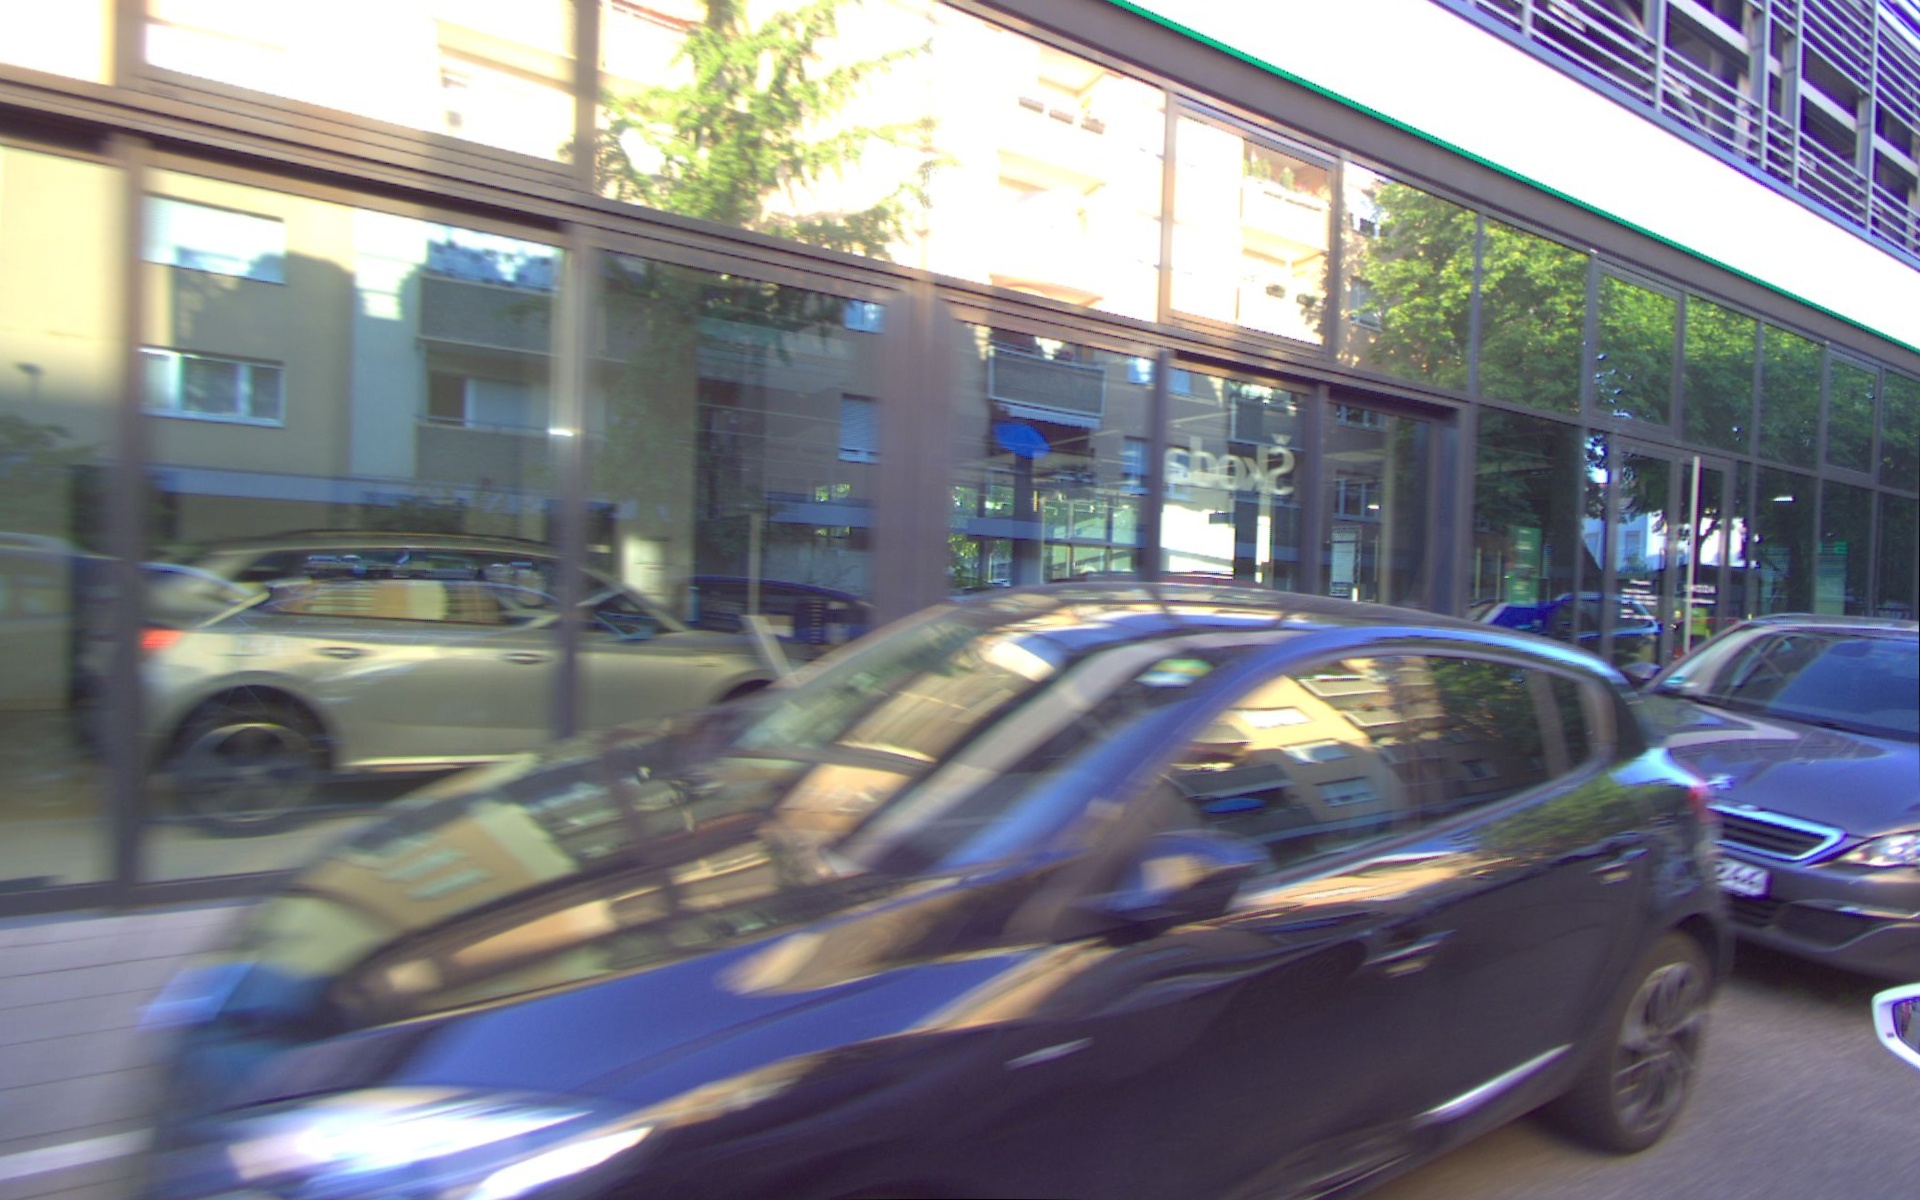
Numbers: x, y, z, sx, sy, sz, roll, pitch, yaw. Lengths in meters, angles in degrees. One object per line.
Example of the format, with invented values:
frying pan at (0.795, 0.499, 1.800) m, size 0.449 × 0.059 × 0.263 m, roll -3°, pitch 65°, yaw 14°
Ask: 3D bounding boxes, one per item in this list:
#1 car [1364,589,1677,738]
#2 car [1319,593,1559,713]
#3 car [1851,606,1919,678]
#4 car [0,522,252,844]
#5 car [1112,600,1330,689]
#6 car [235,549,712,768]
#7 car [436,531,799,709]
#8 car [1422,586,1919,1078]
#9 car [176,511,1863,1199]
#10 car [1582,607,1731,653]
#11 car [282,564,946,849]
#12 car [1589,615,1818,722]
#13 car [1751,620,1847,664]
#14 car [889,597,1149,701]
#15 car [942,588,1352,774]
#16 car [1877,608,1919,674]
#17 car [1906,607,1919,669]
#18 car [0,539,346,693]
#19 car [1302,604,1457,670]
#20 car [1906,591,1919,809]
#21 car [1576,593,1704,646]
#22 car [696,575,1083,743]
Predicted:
car at (7.472, 0.750, 13.275) m, size 4.360 × 1.681 × 1.688 m, roll 1°, pitch 1°, yaw -32°
car at (7.637, 0.796, 15.950) m, size 3.696 × 1.680 × 1.688 m, roll 2°, pitch 0°, yaw -32°
car at (24.428, 1.061, 24.218) m, size 1.838 × 1.706 × 4.016 m, roll 1°, pitch 1°, yaw -29°
car at (-6.202, 0.399, 5.357) m, size 3.833 × 1.672 × 1.584 m, roll 1°, pitch 1°, yaw -32°
car at (4.848, 0.775, 18.549) m, size 3.876 × 1.453 × 1.688 m, roll 1°, pitch 1°, yaw -32°
car at (-4.399, 0.466, 9.386) m, size 3.696 × 1.681 × 1.688 m, roll 1°, pitch 1°, yaw -32°
car at (-4.090, 0.224, 12.144) m, size 3.876 × 1.840 × 1.688 m, roll 1°, pitch 1°, yaw -32°
car at (4.572, 0.786, 5.162) m, size 4.154 × 1.618 × 1.928 m, roll 1°, pitch 1°, yaw -30°
car at (0.517, 0.640, 2.699) m, size 3.963 × 1.422 × 1.718 m, roll 1°, pitch 6°, yaw -33°
car at (25.232, 1.053, 36.522) m, size 1.838 × 1.474 × 4.055 m, roll 1°, pitch 1°, yaw -29°
car at (-2.311, 0.596, 7.224) m, size 4.145 × 1.535 × 1.688 m, roll 1°, pitch 1°, yaw -32°
car at (12.042, 1.037, 16.236) m, size 3.739 × 1.493 × 1.688 m, roll 1°, pitch 1°, yaw -32°
car at (26.524, 1.292, 31.728) m, size 3.177 × 1.272 × 1.350 m, roll 1°, pitch 1°, yaw -31°
car at (0.979, 0.731, 16.013) m, size 3.876 × 1.453 × 1.688 m, roll 1°, pitch 1°, yaw -32°
car at (1.953, 0.706, 10.158) m, size 3.948 × 1.535 × 1.688 m, roll 1°, pitch 1°, yaw -31°
car at (26.392, 1.114, 25.577) m, size 1.838 × 1.706 × 4.130 m, roll 1°, pitch 1°, yaw -29°
car at (28.214, 1.105, 26.767) m, size 1.838 × 1.706 × 4.007 m, roll 1°, pitch 1°, yaw -29°
car at (-8.802, 0.152, 10.638) m, size 3.876 × 1.453 × 1.688 m, roll 1°, pitch 1°, yaw -32°
car at (8.919, 0.751, 21.300) m, size 3.177 × 1.272 × 1.412 m, roll 1°, pitch 1°, yaw -31°
car at (10.120, 0.873, 8.721) m, size 4.354 × 1.779 × 1.688 m, roll 1°, pitch 1°, yaw -32°
car at (17.703, 0.493, 26.128) m, size 3.486 × 1.272 × 1.412 m, roll 1°, pitch 1°, yaw -31°
car at (-0.755, 0.616, 11.906) m, size 4.277 × 1.681 × 1.688 m, roll 1°, pitch 1°, yaw -32°
